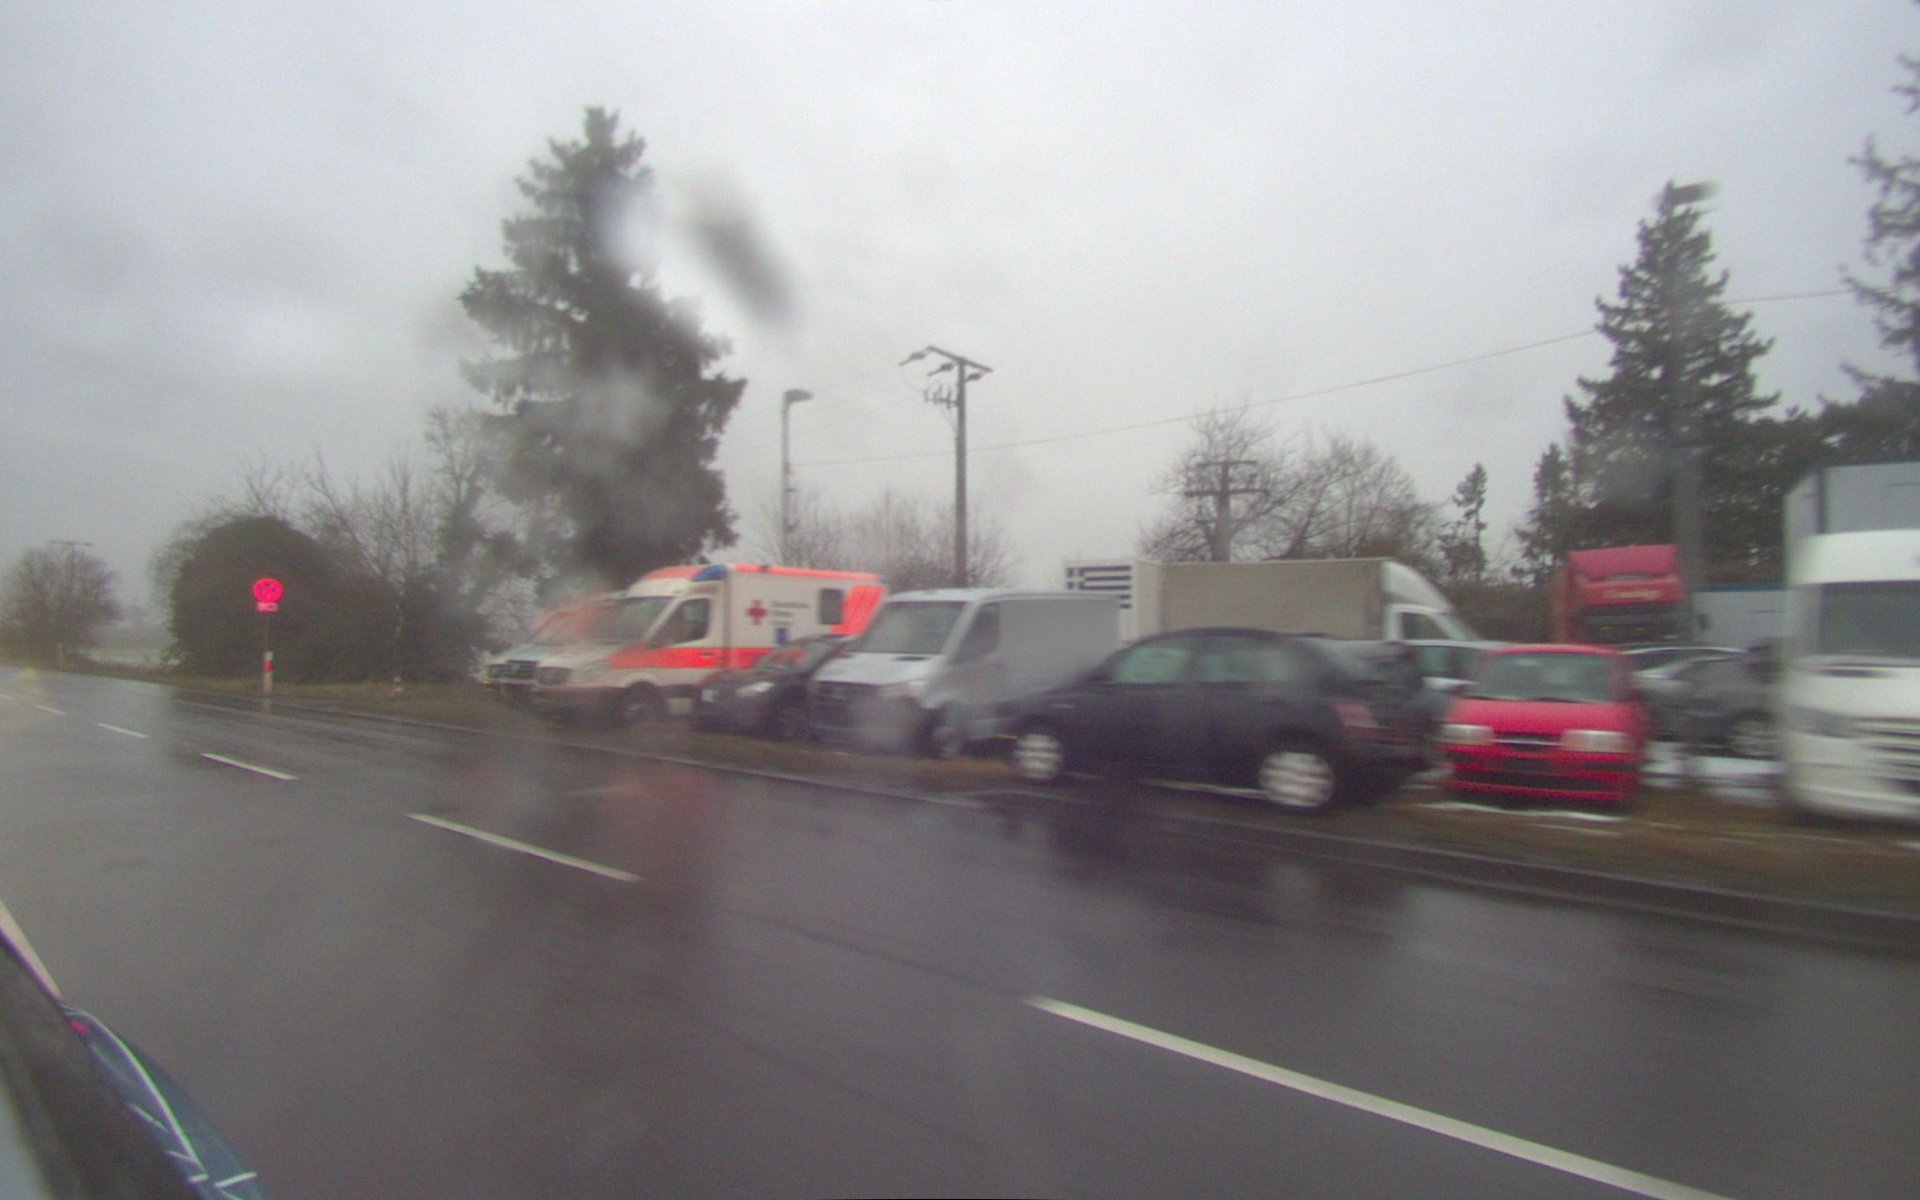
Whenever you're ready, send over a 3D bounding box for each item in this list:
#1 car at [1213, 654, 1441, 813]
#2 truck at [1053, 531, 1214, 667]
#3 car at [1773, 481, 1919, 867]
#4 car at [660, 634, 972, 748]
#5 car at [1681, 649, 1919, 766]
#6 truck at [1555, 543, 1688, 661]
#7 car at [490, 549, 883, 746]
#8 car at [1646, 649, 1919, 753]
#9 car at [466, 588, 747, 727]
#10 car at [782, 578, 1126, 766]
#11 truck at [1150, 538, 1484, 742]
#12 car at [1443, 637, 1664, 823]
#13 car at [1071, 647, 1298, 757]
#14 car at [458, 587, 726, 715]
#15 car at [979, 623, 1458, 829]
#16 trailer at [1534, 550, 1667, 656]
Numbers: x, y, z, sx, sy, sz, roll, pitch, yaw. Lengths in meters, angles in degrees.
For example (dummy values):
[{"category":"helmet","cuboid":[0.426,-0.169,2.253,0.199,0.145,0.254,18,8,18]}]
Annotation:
[{"category":"car","cuboid":[4.082,1.310,10.984,1.478,1.338,3.273,-1,-2,36]},{"category":"truck","cuboid":[6.516,-0.041,36.584,2.994,4.293,8.627,-1,0,29]},{"category":"car","cuboid":[8.798,0.578,9.081,2.193,2.659,5.973,-2,-3,38]},{"category":"car","cuboid":[-2.062,1.333,15.770,1.953,1.494,4.700,-2,-4,40]},{"category":"car","cuboid":[11.562,1.353,13.282,3.339,1.379,1.591,-2,-2,38]},{"category":"truck","cuboid":[16.812,0.086,25.991,2.222,2.717,4.683,-1,-1,26]},{"category":"car","cuboid":[-4.194,0.802,16.725,2.174,2.652,6.093,-2,-4,40]},{"category":"car","cuboid":[12.532,1.448,15.277,3.448,1.391,1.596,-2,-3,39]},{"category":"car","cuboid":[-6.513,1.081,19.104,1.986,2.290,4.619,-2,-4,40]},{"category":"car","cuboid":[0.141,0.972,14.291,2.057,2.167,5.093,-2,-4,40]},{"category":"truck","cuboid":[6.843,0.805,19.849,5.841,3.481,2.012,-2,-5,37]},{"category":"car","cuboid":[5.931,1.116,9.968,1.496,1.503,3.197,-2,-3,37]},{"category":"car","cuboid":[3.448,1.409,15.045,1.838,1.394,3.951,-3,-4,36]},{"category":"car","cuboid":[-7.690,1.099,21.661,2.078,2.408,5.052,-2,-4,38]},{"category":"car","cuboid":[2.120,0.987,8.917,3.740,1.431,1.633,-4,-4,41]},{"category":"trailer","cuboid":[19.142,0.129,30.780,2.208,2.694,10.414,-1,-1,26]}]
